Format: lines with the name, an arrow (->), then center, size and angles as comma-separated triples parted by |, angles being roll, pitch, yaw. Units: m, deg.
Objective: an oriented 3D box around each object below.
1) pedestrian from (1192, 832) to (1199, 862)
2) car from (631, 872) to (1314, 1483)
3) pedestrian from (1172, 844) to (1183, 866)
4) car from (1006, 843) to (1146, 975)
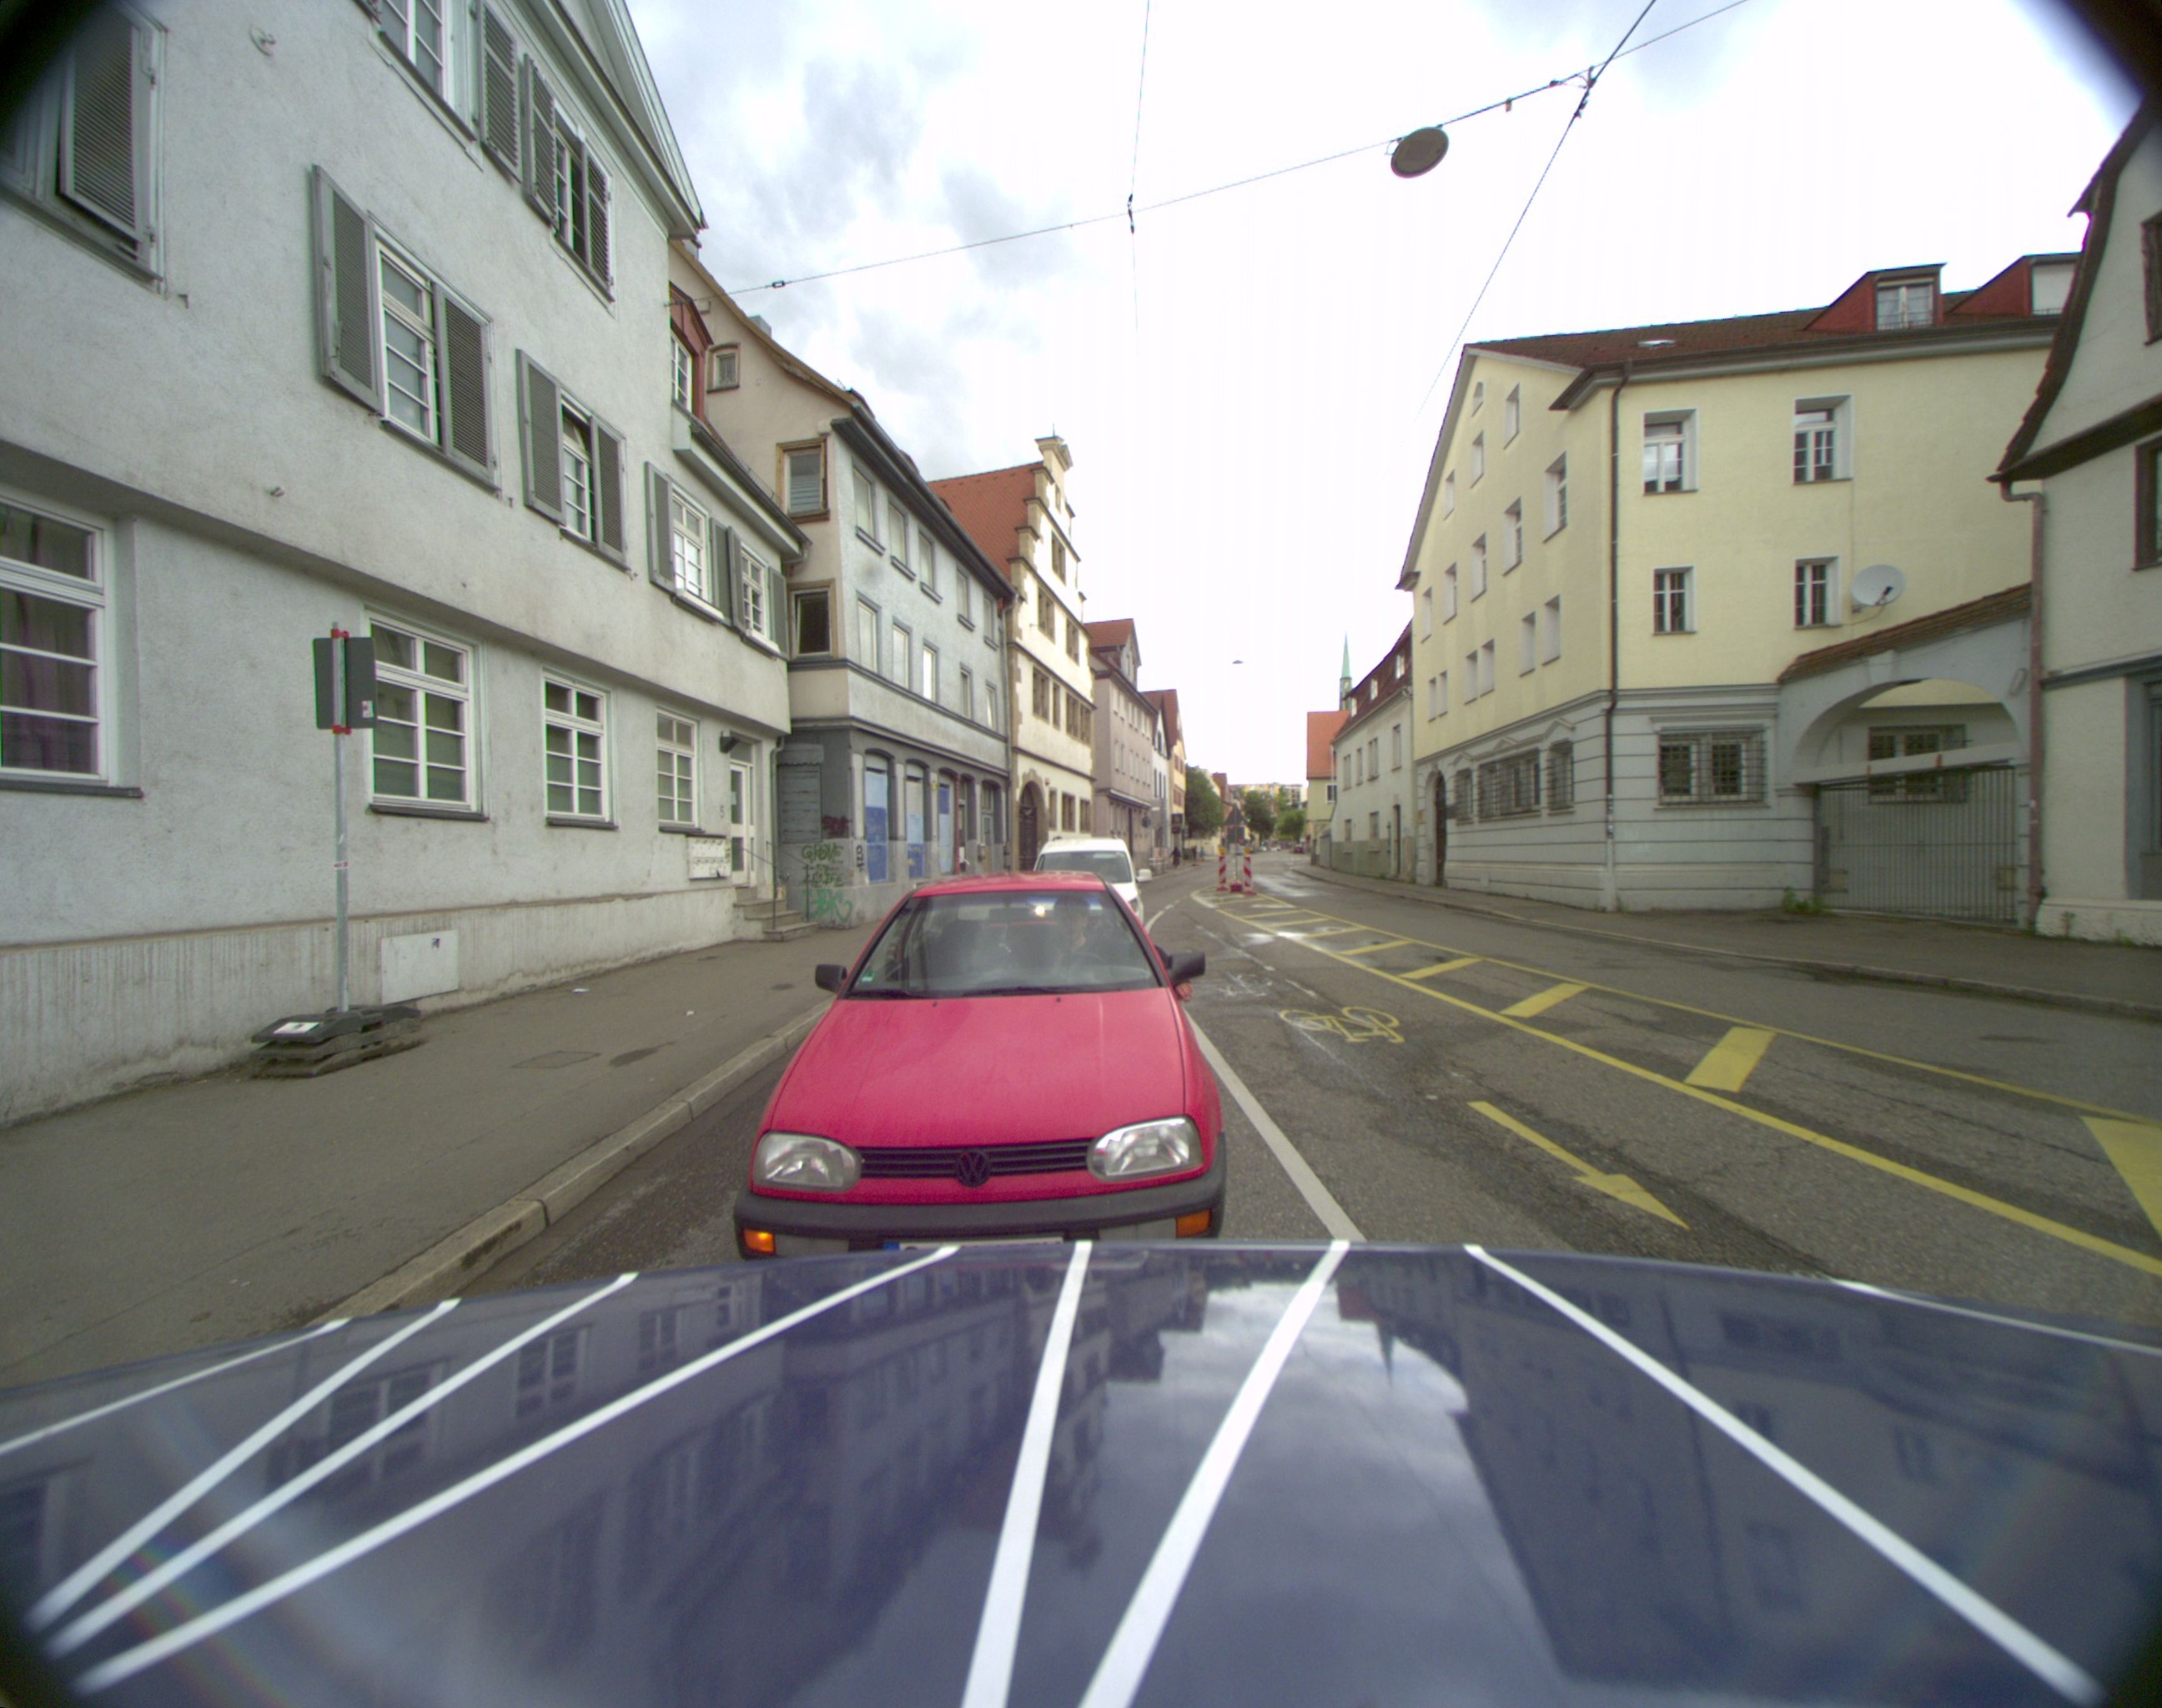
pedestrian -> 9.563, -0.612, 63.623 | 0.495, 2.513, 0.746 | -1, 1, 12
car -> -0.294, 0.926, 4.047 | 1.793, 1.417, 3.998 | -2, 1, -1
pedestrian -> 7.119, 0.070, 55.811 | 0.725, 1.604, 0.649 | -1, 0, 12
car -> 0.023, 0.704, 12.161 | 1.814, 1.695, 4.256 | -1, 1, 2
